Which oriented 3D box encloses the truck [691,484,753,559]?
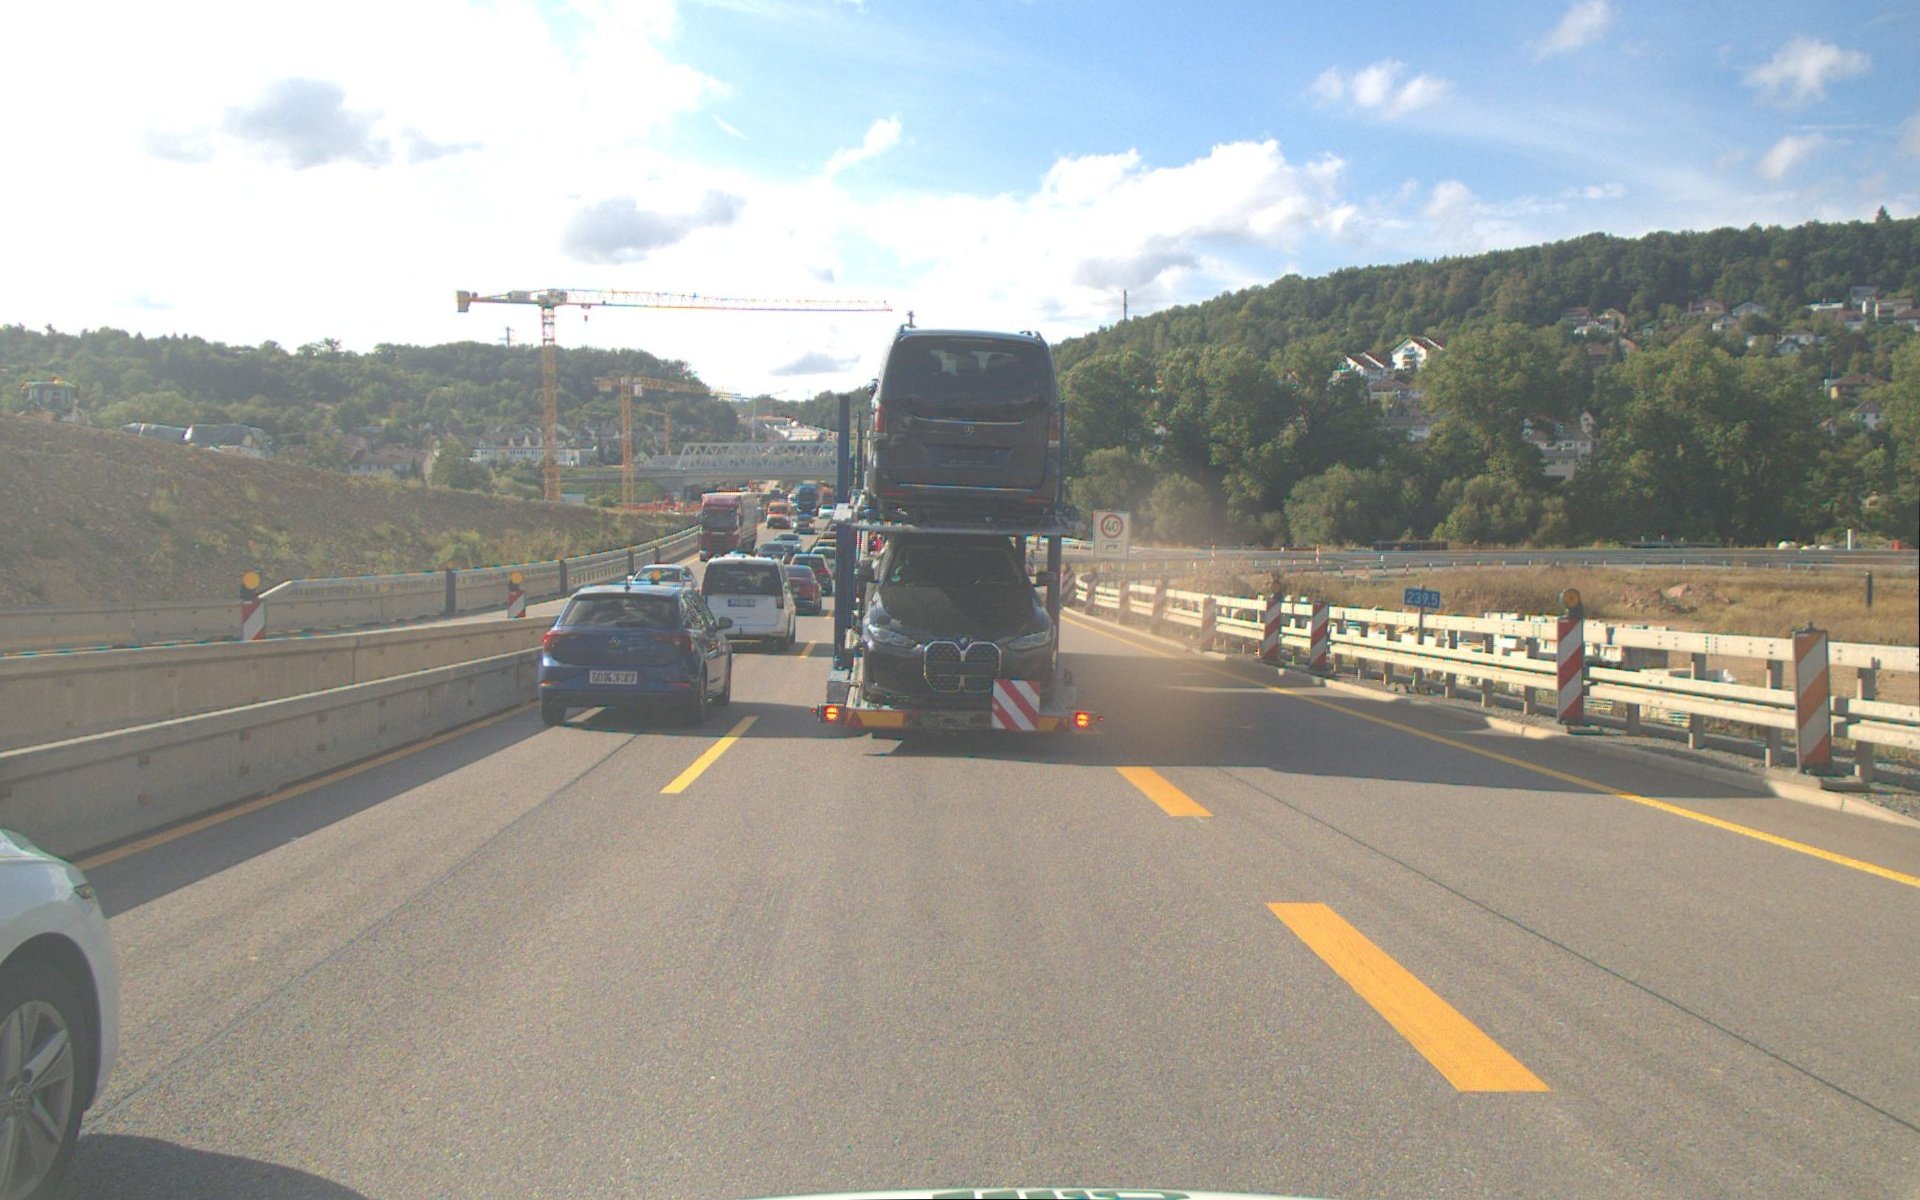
[{"bbox_3d":[-15.038,-4.888,104.881,2.855,4.463,6.286,2,1,-1],"label":"truck"}]

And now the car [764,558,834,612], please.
[{"bbox_3d":[-5.035,-0.436,52.164,1.954,1.584,4.398,1,-1,-3],"label":"car"}]

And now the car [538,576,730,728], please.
[{"bbox_3d":[-3.530,0.497,18.526,1.688,1.446,3.996,1,1,-5],"label":"car"}]

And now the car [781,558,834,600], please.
[{"bbox_3d":[-6.228,-0.848,67.869,1.954,1.579,3.998,1,-1,-3],"label":"car"}]

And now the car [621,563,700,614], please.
[{"bbox_3d":[-9.056,-0.363,50.297,1.816,1.465,4.555,1,1,-3],"label":"car"}]

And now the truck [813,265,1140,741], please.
[{"bbox_3d":[-0.337,-0.837,23.805,2.698,4.023,18.877,2,0,-3],"label":"truck"}]

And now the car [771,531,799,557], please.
[{"bbox_3d":[-12.146,-3.846,114.997,1.808,1.677,4.501,1,1,-5],"label":"car"}]

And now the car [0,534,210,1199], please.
[{"bbox_3d":[-2.830,0.607,2.146,1.734,1.517,4.515,0,-1,-1],"label":"car"}]

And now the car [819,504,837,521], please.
[{"bbox_3d":[-15.711,-10.407,196.833,1.954,1.713,3.997,1,-1,-3],"label":"car"}]

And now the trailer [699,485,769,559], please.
[{"bbox_3d":[-15.169,-5.118,112.062,2.916,4.499,13.814,2,1,-1],"label":"trailer"}]

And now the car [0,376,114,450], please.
[{"bbox_3d":[-36.020,-7.379,65.911,1.954,2.177,5.318,-4,0,-3],"label":"car"}]

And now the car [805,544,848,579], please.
[{"bbox_3d":[-6.869,-1.953,85.344,1.953,1.695,3.999,1,1,-1],"label":"car"}]

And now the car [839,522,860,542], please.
[{"bbox_3d":[-10.073,-6.166,150.612,1.808,1.677,4.500,1,1,-5],"label":"car"}]

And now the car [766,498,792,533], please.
[{"bbox_3d":[-17.440,-8.111,159.422,1.953,2.930,6.061,1,-1,-2],"label":"car"}]

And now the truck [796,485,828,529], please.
[{"bbox_3d":[-19.333,-12.131,216.856,2.764,4.872,13.055,1,-1,1],"label":"truck"}]

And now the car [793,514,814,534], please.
[{"bbox_3d":[-14.043,-6.823,148.637,1.808,1.677,4.232,1,1,-5],"label":"car"}]

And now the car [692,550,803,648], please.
[{"bbox_3d":[-4.231,0.007,33.470,1.786,1.823,3.999,1,-1,-1],"label":"car"}]

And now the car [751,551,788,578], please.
[{"bbox_3d":[-10.971,-2.022,95.681,1.785,1.465,4.611,1,1,-3],"label":"car"}]
